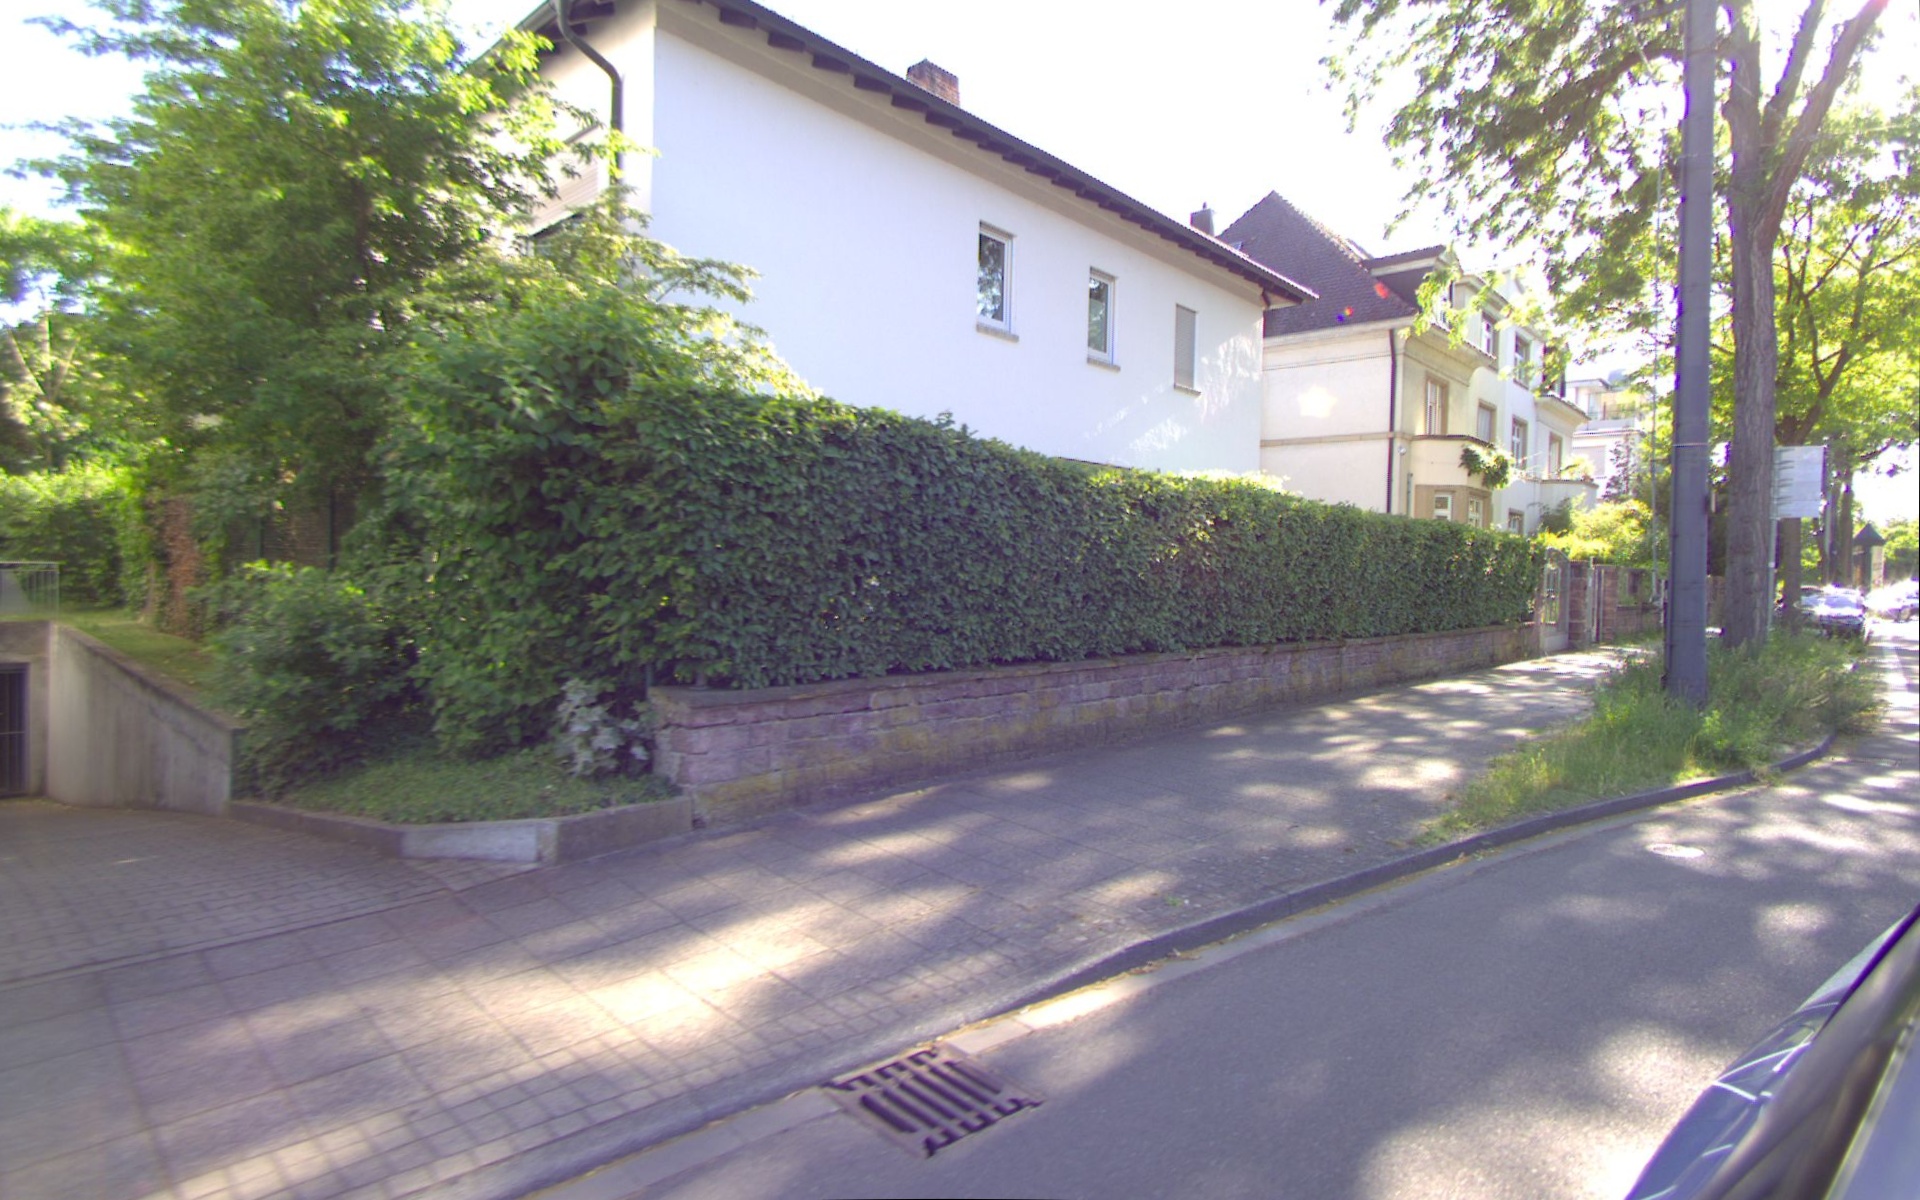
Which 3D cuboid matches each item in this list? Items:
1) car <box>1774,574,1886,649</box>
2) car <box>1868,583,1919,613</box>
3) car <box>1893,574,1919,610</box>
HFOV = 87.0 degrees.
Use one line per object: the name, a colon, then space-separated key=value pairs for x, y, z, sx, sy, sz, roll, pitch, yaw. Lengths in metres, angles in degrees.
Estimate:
car: x=22.608 y=0.222 z=26.244 sx=1.994 sy=1.765 sz=4.106 roll=2 pitch=2 yaw=43
car: x=46.223 y=-0.112 z=49.957 sx=3.851 sy=1.356 sz=1.718 roll=-1 pitch=2 yaw=-42
car: x=51.190 y=-0.463 z=53.833 sx=4.175 sy=1.852 sz=1.903 roll=-1 pitch=2 yaw=-42
